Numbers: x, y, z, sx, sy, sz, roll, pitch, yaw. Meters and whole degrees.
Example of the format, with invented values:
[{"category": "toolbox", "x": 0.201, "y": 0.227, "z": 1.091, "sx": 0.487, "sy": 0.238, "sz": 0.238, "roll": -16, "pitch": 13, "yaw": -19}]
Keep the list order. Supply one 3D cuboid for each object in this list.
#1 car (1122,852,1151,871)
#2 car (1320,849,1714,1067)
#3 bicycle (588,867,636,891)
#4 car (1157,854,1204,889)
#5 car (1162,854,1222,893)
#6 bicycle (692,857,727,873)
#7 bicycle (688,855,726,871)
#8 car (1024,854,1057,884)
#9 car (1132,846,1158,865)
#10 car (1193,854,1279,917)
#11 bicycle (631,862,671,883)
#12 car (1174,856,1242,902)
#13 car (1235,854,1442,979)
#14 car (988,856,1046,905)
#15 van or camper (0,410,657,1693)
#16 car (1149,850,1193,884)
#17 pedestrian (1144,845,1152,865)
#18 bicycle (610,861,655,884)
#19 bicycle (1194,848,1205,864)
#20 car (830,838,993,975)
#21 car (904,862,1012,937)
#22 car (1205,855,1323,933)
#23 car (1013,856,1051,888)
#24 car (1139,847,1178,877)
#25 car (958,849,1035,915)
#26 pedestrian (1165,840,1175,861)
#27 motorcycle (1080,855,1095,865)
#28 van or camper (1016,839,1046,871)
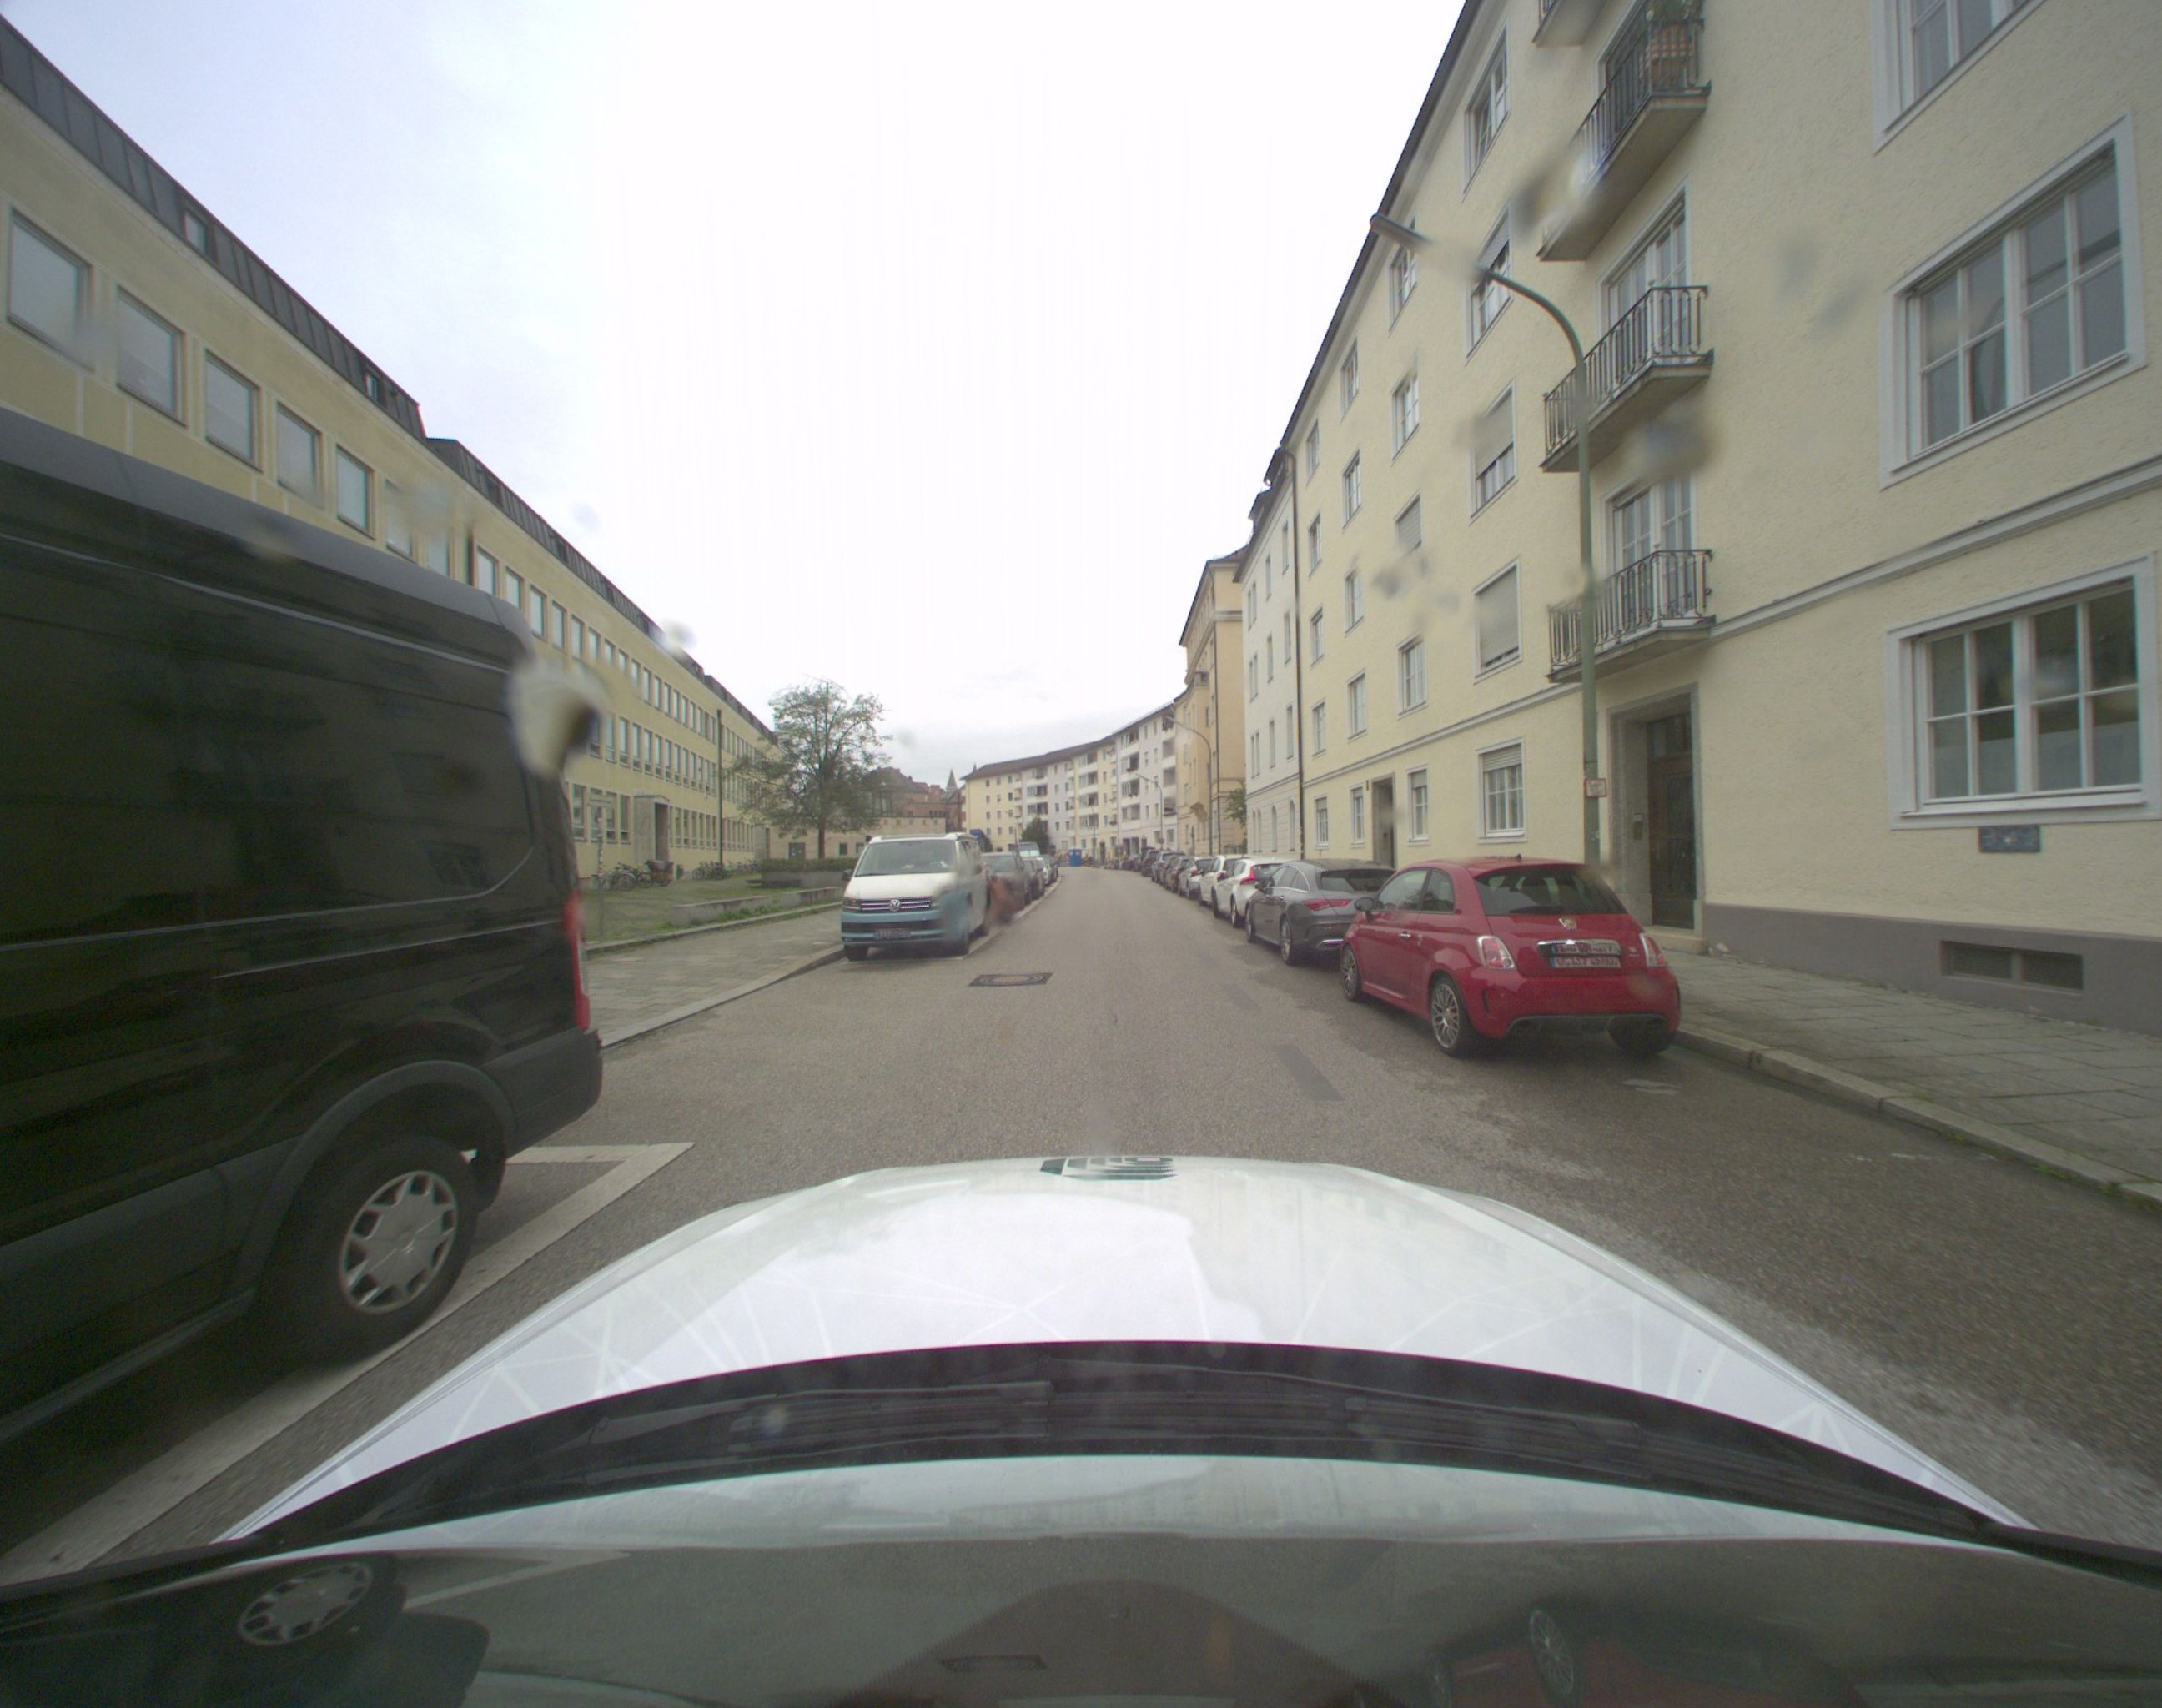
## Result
[{"category": "car", "x": 4.743, "y": 0.595, "z": 69.841, "sx": 1.904, "sy": 1.477, "sz": 4.942, "roll": 0, "pitch": 1, "yaw": -3}, {"category": "car", "x": 3.542, "y": 0.709, "z": 7.472, "sx": 1.649, "sy": 1.429, "sz": 3.757, "roll": 0, "pitch": 1, "yaw": 1}, {"category": "bicycle", "x": -19.205, "y": 1.016, "z": 33.374, "sx": 1.608, "sy": 0.944, "sz": 0.500, "roll": 1, "pitch": 1, "yaw": -18}, {"category": "car", "x": 4.590, "y": 0.783, "z": 38.221, "sx": 1.821, "sy": 1.449, "sz": 4.086, "roll": 1, "pitch": 1, "yaw": 2}, {"category": "car", "x": 4.405, "y": 0.728, "z": 33.063, "sx": 1.869, "sy": 1.450, "sz": 4.679, "roll": -1, "pitch": 0, "yaw": 1}, {"category": "bicycle", "x": -22.309, "y": 0.651, "z": 48.908, "sx": 1.862, "sy": 0.944, "sz": 0.412, "roll": 1, "pitch": 1, "yaw": -18}, {"category": "bicycle", "x": -22.115, "y": 0.540, "z": 48.184, "sx": 1.952, "sy": 0.944, "sz": 0.413, "roll": 1, "pitch": 1, "yaw": -12}, {"category": "car", "x": -2.230, "y": 0.805, "z": 45.868, "sx": 1.626, "sy": 1.494, "sz": 4.274, "roll": -3, "pitch": 1, "yaw": -1}, {"category": "car", "x": 4.972, "y": 0.104, "z": 63.559, "sx": 1.626, "sy": 1.417, "sz": 3.677, "roll": 0, "pitch": 1, "yaw": -2}, {"category": "car", "x": 4.255, "y": 0.805, "z": 22.906, "sx": 1.645, "sy": 1.543, "sz": 3.993, "roll": 0, "pitch": 1, "yaw": -1}, {"category": "bicycle", "x": -20.013, "y": 0.846, "z": 37.939, "sx": 1.610, "sy": 0.944, "sz": 0.499, "roll": 1, "pitch": 1, "yaw": -23}, {"category": "car", "x": 4.324, "y": 0.806, "z": 28.275, "sx": 1.719, "sy": 1.450, "sz": 4.187, "roll": -1, "pitch": 0, "yaw": 0}, {"category": "car", "x": 3.634, "y": 0.778, "z": 12.406, "sx": 1.767, "sy": 1.429, "sz": 4.616, "roll": 0, "pitch": 1, "yaw": 1}, {"category": "car", "x": -2.240, "y": 0.895, "z": 29.531, "sx": 1.625, "sy": 1.494, "sz": 3.821, "roll": -3, "pitch": 1, "yaw": 2}, {"category": "van or camper", "x": -3.421, "y": 0.437, "z": 1.205, "sx": 2.283, "sy": 2.650, "sz": 5.567, "roll": -2, "pitch": 1, "yaw": 3}, {"category": "car", "x": 4.708, "y": 0.637, "z": 43.083, "sx": 1.840, "sy": 1.663, "sz": 4.498, "roll": 0, "pitch": 1, "yaw": 0}, {"category": "pedestrian", "x": 5.070, "y": 0.078, "z": 61.643, "sx": 0.626, "sy": 1.528, "sz": 0.578, "roll": 0, "pitch": 1, "yaw": 0}, {"category": "bicycle", "x": -19.594, "y": 0.814, "z": 35.601, "sx": 1.608, "sy": 0.944, "sz": 0.500, "roll": 1, "pitch": 1, "yaw": -18}, {"category": "bicycle", "x": 8.386, "y": 0.124, "z": 57.776, "sx": 0.500, "sy": 1.049, "sz": 2.139, "roll": -3, "pitch": 1, "yaw": 3}, {"category": "car", "x": -2.722, "y": 0.714, "z": 14.302, "sx": 1.910, "sy": 1.960, "sz": 4.959, "roll": 0, "pitch": 1, "yaw": -1}, {"category": "car", "x": -2.778, "y": 0.977, "z": 19.153, "sx": 1.798, "sy": 1.406, "sz": 3.711, "roll": -3, "pitch": 1, "yaw": 2}, {"category": "car", "x": 3.931, "y": 0.798, "z": 18.182, "sx": 1.719, "sy": 1.429, "sz": 4.295, "roll": 0, "pitch": 1, "yaw": 1}, {"category": "car", "x": -2.394, "y": 0.842, "z": 40.666, "sx": 1.736, "sy": 1.422, "sz": 4.293, "roll": 0, "pitch": 1, "yaw": -1}, {"category": "car", "x": 5.014, "y": 0.480, "z": 53.347, "sx": 2.162, "sy": 1.739, "sz": 5.026, "roll": 1, "pitch": 1, "yaw": 2}, {"category": "car", "x": -2.448, "y": 0.768, "z": 24.492, "sx": 1.708, "sy": 1.689, "sz": 4.143, "roll": -2, "pitch": 1, "yaw": 2}, {"category": "pedestrian", "x": 7.436, "y": -0.292, "z": 68.058, "sx": 0.615, "sy": 1.690, "sz": 0.919, "roll": -4, "pitch": 0, "yaw": 1}, {"category": "motorcycle", "x": 0.800, "y": 0.770, "z": 102.287, "sx": 0.936, "sy": 1.221, "sz": 2.488, "roll": 0, "pitch": 1, "yaw": -22}, {"category": "van or camper", "x": -4.440, "y": 0.070, "z": 71.031, "sx": 2.294, "sy": 2.581, "sz": 6.072, "roll": -1, "pitch": 0, "yaw": -6}]
